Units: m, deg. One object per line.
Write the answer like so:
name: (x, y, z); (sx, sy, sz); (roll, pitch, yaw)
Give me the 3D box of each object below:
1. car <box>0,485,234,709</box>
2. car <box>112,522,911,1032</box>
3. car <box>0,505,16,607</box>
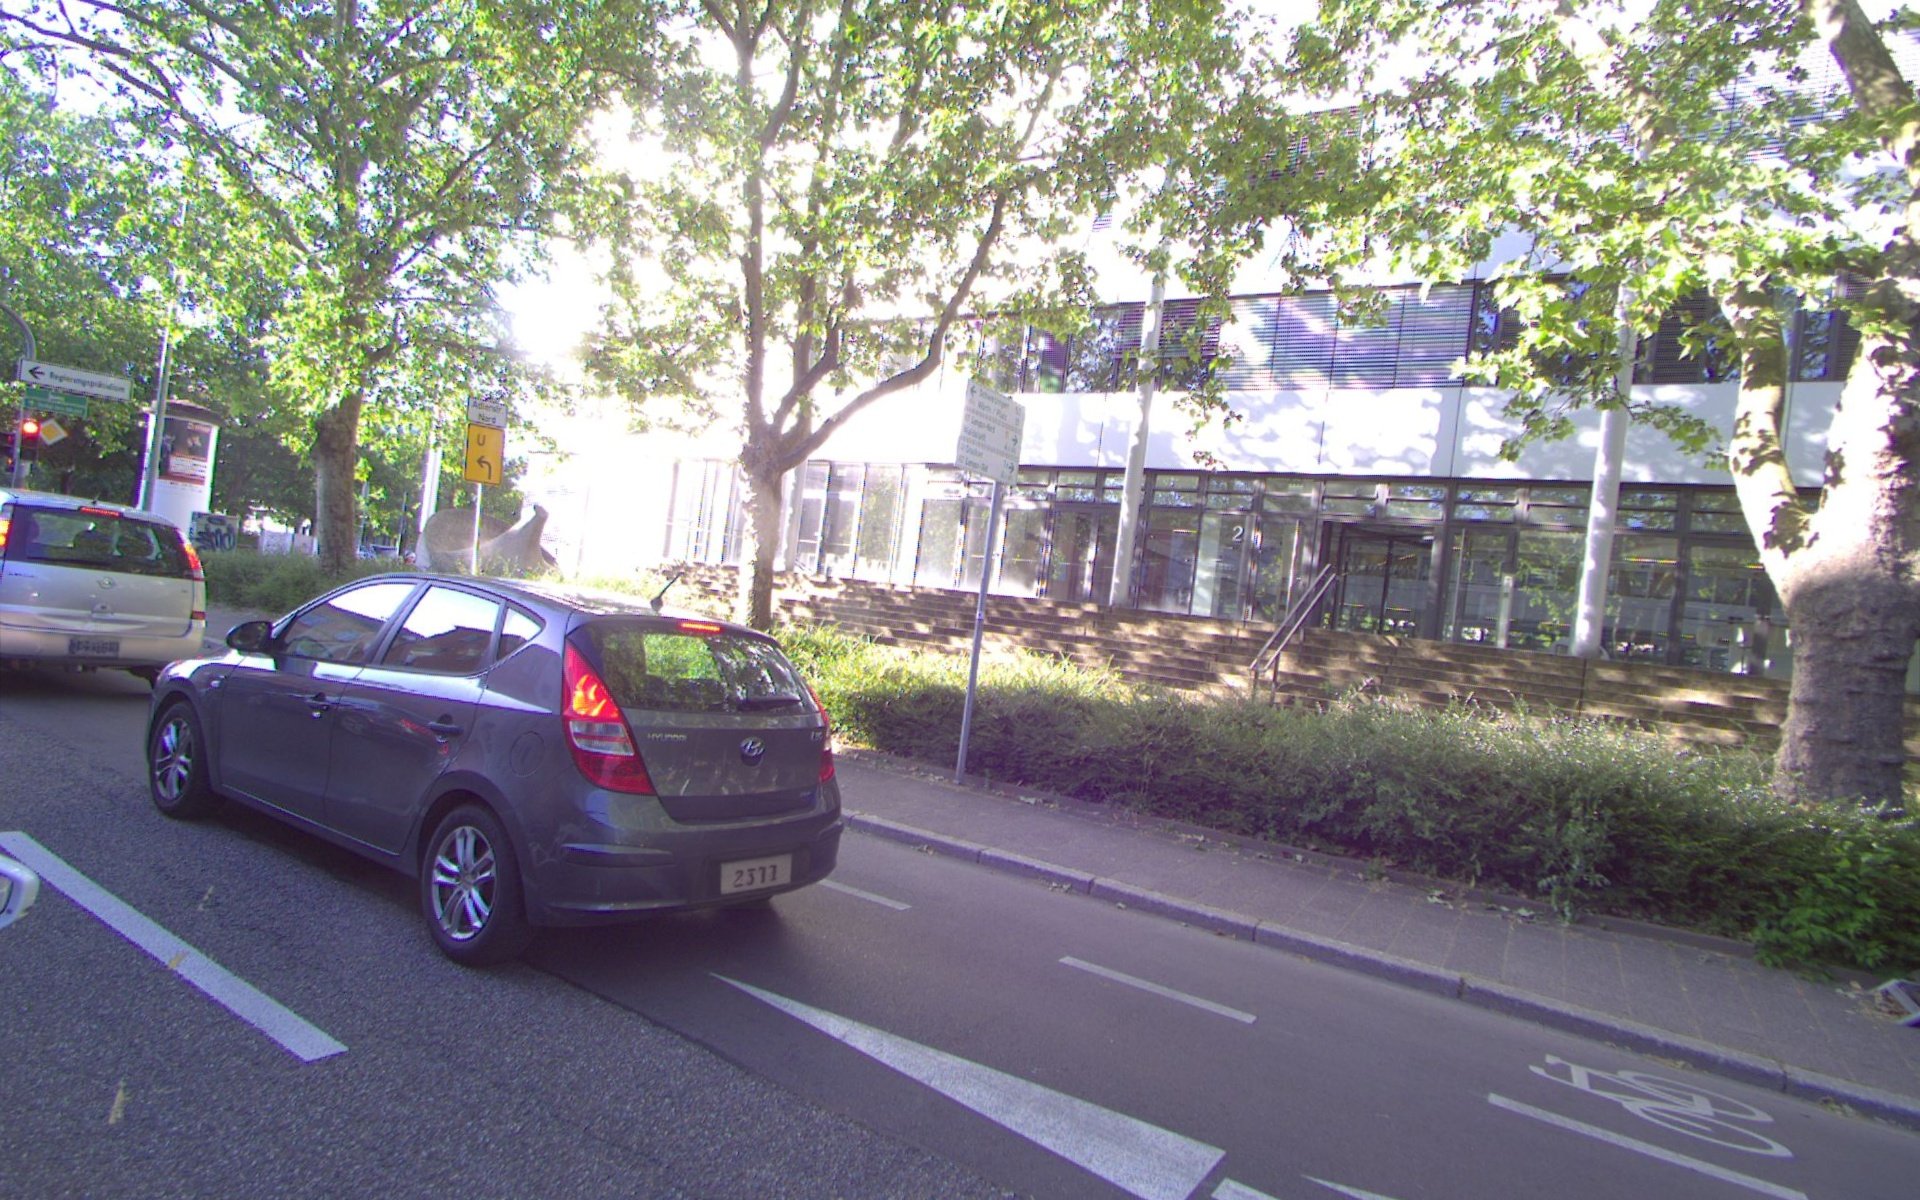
car: (-8.437, -0.148, 9.053); (3.797, 1.620, 1.705); (7, -3, 34)
car: (-2.400, 0.608, 5.111); (3.910, 1.498, 1.648); (7, -3, 32)
car: (-13.999, -0.732, 12.605); (4.592, 1.481, 1.917); (7, -3, 32)
